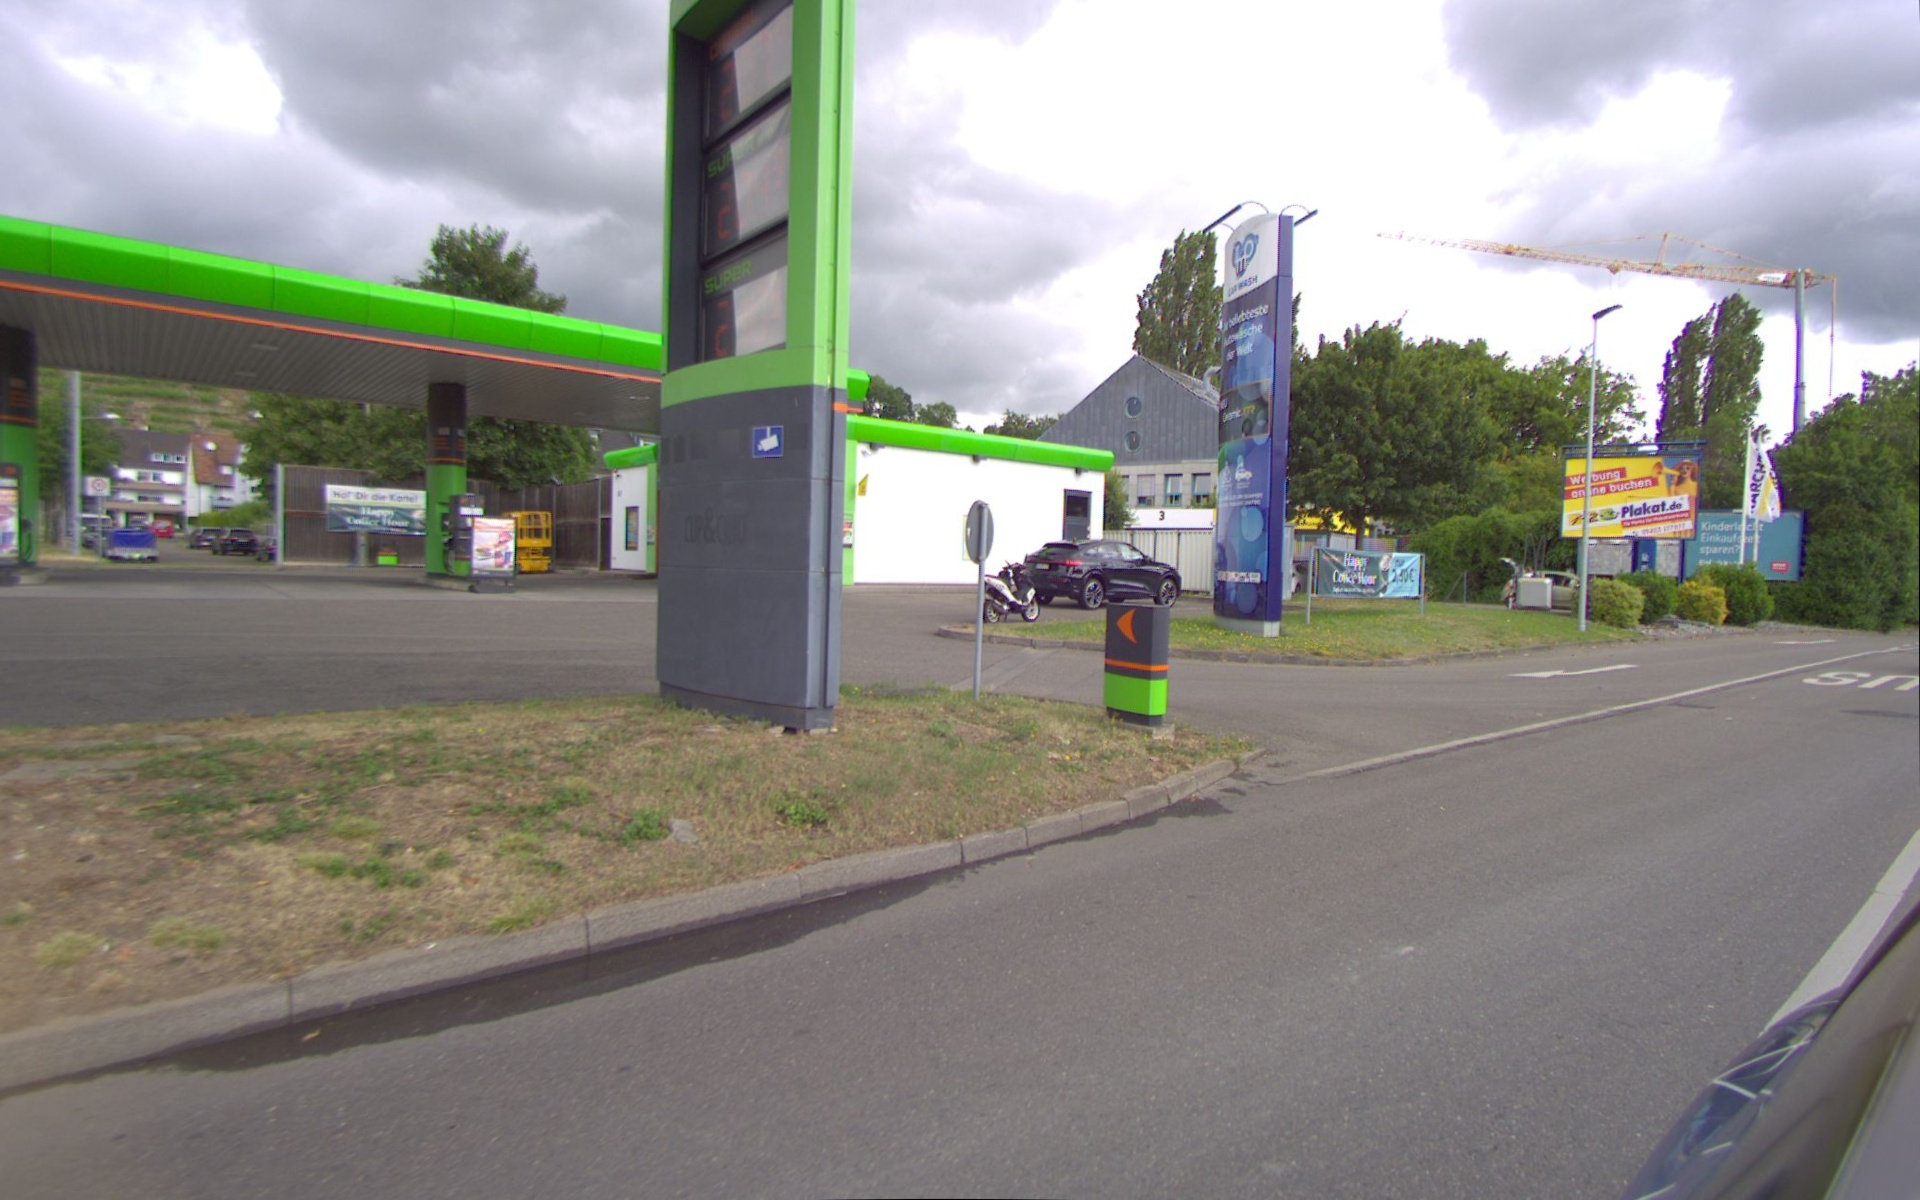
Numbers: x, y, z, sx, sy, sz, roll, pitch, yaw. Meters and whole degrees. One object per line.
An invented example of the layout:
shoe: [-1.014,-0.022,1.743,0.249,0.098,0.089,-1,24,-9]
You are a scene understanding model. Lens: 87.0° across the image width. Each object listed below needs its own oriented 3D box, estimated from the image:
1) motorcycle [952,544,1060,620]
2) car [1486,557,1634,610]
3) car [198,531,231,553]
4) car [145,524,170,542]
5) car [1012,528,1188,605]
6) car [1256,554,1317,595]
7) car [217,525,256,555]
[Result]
motorcycle: [0.887,-0.345,19.166,1.955,1.347,0.857,0,3,-41]
car: [21.486,-0.621,36.293,4.018,1.676,2.900,4,3,43]
car: [-55.154,-4.278,74.857,1.707,1.434,3.995,0,1,-40]
car: [-78.224,-6.550,98.715,1.802,1.660,4.000,0,3,-37]
car: [3.498,-0.833,24.877,4.259,1.694,1.826,-1,5,-39]
car: [14.132,-1.115,43.721,1.620,1.659,3.490,3,3,32]
car: [-45.847,-3.765,64.107,1.707,1.755,3.995,0,1,-40]
